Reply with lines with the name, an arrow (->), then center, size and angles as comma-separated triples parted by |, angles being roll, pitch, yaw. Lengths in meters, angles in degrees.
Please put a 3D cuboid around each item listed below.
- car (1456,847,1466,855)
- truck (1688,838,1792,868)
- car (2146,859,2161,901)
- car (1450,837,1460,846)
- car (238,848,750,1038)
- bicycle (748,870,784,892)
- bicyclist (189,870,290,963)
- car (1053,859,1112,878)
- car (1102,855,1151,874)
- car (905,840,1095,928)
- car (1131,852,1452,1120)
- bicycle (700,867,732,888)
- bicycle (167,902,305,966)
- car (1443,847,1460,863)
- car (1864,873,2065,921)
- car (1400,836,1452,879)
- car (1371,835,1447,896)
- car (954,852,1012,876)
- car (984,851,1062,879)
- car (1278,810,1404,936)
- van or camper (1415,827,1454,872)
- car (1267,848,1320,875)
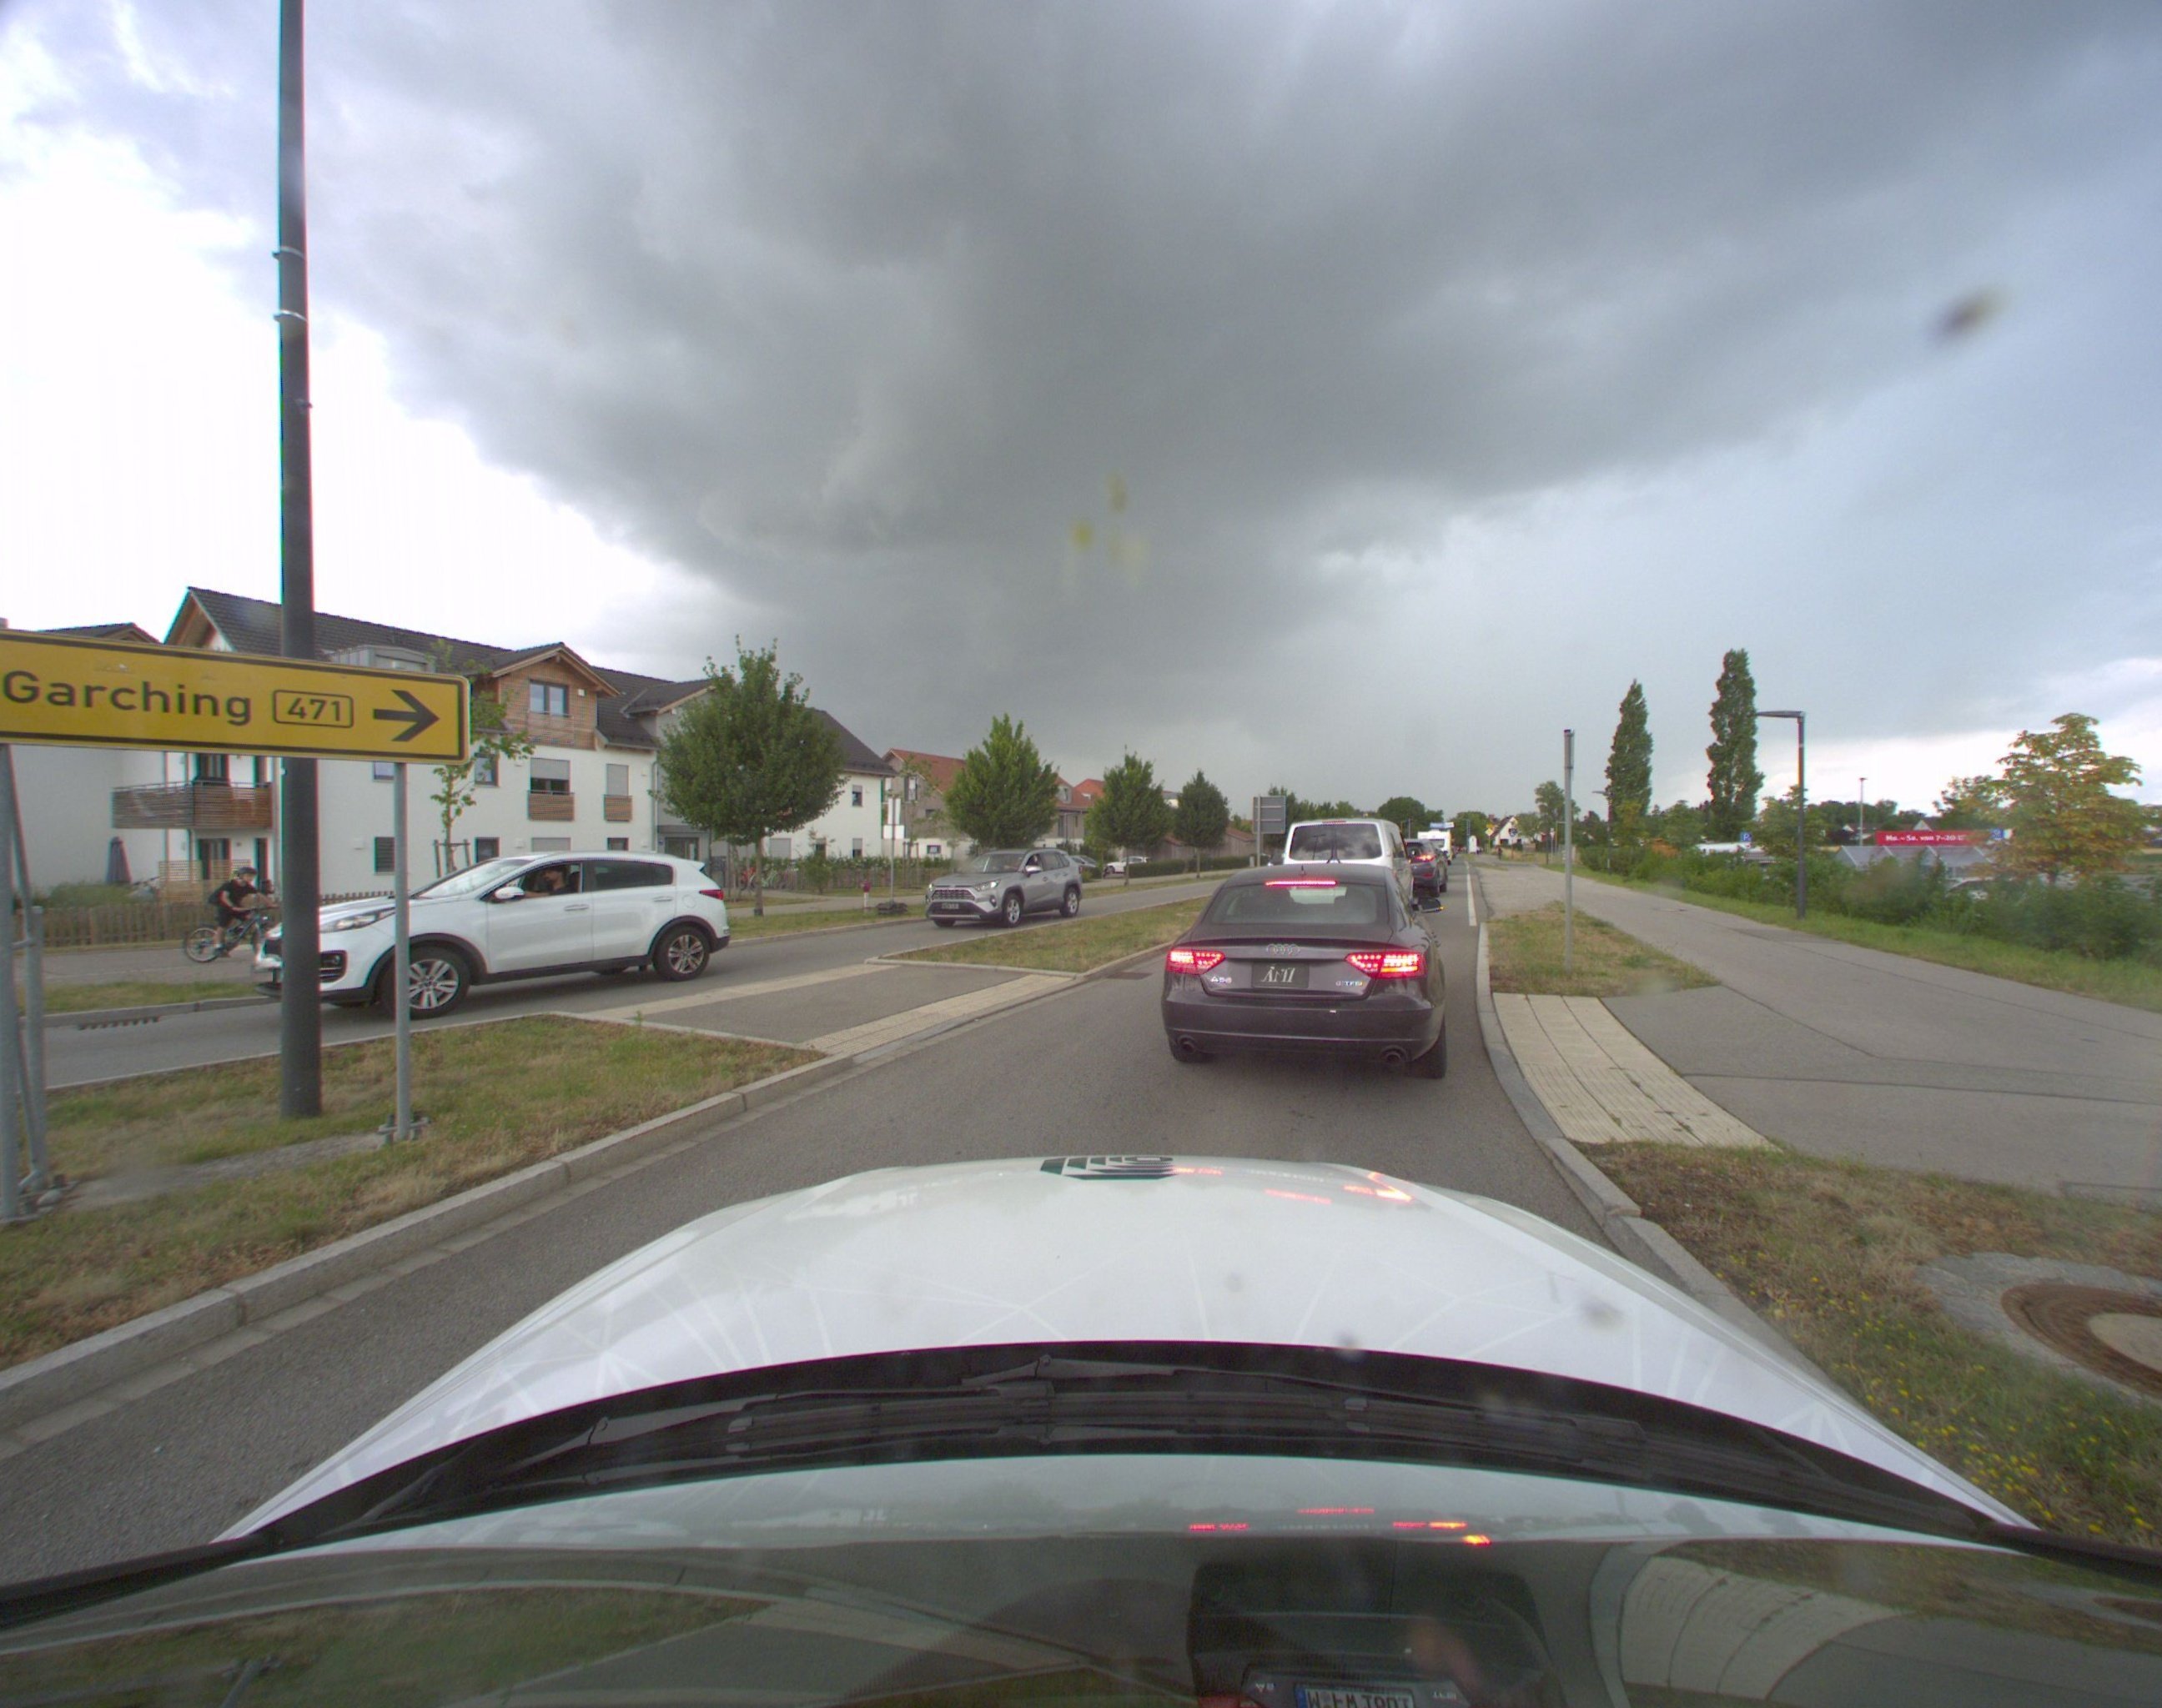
car -> 73.374, -0.589, 157.295 | 1.598, 1.409, 3.637 | 0, 0, 26
truck -> 41.801, -0.082, 51.775 | 4.755, 1.872, 2.010 | 1, 0, 21
car -> 45.067, 1.047, 31.347 | 4.515, 1.664, 2.012 | 0, 1, 25
car -> 91.856, -3.139, 200.150 | 1.974, 2.211, 4.025 | 0, 1, 30
car -> -6.336, 0.774, 9.425 | 1.692, 1.626, 4.479 | -1, 0, 32
bicycle -> -13.370, 1.148, 34.603 | 0.364, 0.843, 1.556 | 3, 2, 27
bicyclist -> -13.902, 1.010, 13.483 | 0.864, 1.446, 0.724 | -2, 0, -2
car -> 0.118, 1.044, 58.880 | 3.880, 1.315, 1.853 | 0, 0, 23
car -> 3.816, 0.846, 67.816 | 3.697, 1.482, 1.696 | 0, 1, 22
car -> -1.622, 0.591, 18.222 | 1.975, 1.704, 4.663 | -2, 0, 27
car -> 1.944, 0.715, 6.580 | 1.768, 1.391, 4.155 | -1, 0, 23
bicycle -> -16.041, 1.016, 35.814 | 0.364, 0.843, 1.345 | 3, 2, 27
bicycle -> -13.896, 1.306, 13.417 | 1.703, 0.946, 0.497 | -2, 0, -1
car -> 41.860, 0.076, 92.056 | 1.598, 1.794, 4.024 | 0, 0, 26
car -> 29.835, 1.398, 27.698 | 4.194, 1.440, 2.012 | 0, 0, 25
car -> 13.966, 0.140, 32.882 | 1.760, 1.618, 4.023 | -1, 0, 25
car -> 9.617, 0.306, 23.692 | 1.760, 1.618, 4.023 | -2, 0, 26
car -> -7.292, 0.703, 61.105 | 1.974, 1.772, 4.493 | 0, 0, 30
car -> -3.669, 0.647, 51.309 | 4.487, 1.680, 2.012 | 0, 1, 28
car -> 4.821, 0.274, 14.736 | 1.851, 1.934, 4.022 | 0, 1, 22
van or camper -> 27.647, -0.299, 63.492 | 2.601, 3.323, 6.860 | 0, 0, 25
car -> 11.913, 0.388, 45.399 | 1.737, 1.416, 4.483 | 0, 1, 30
